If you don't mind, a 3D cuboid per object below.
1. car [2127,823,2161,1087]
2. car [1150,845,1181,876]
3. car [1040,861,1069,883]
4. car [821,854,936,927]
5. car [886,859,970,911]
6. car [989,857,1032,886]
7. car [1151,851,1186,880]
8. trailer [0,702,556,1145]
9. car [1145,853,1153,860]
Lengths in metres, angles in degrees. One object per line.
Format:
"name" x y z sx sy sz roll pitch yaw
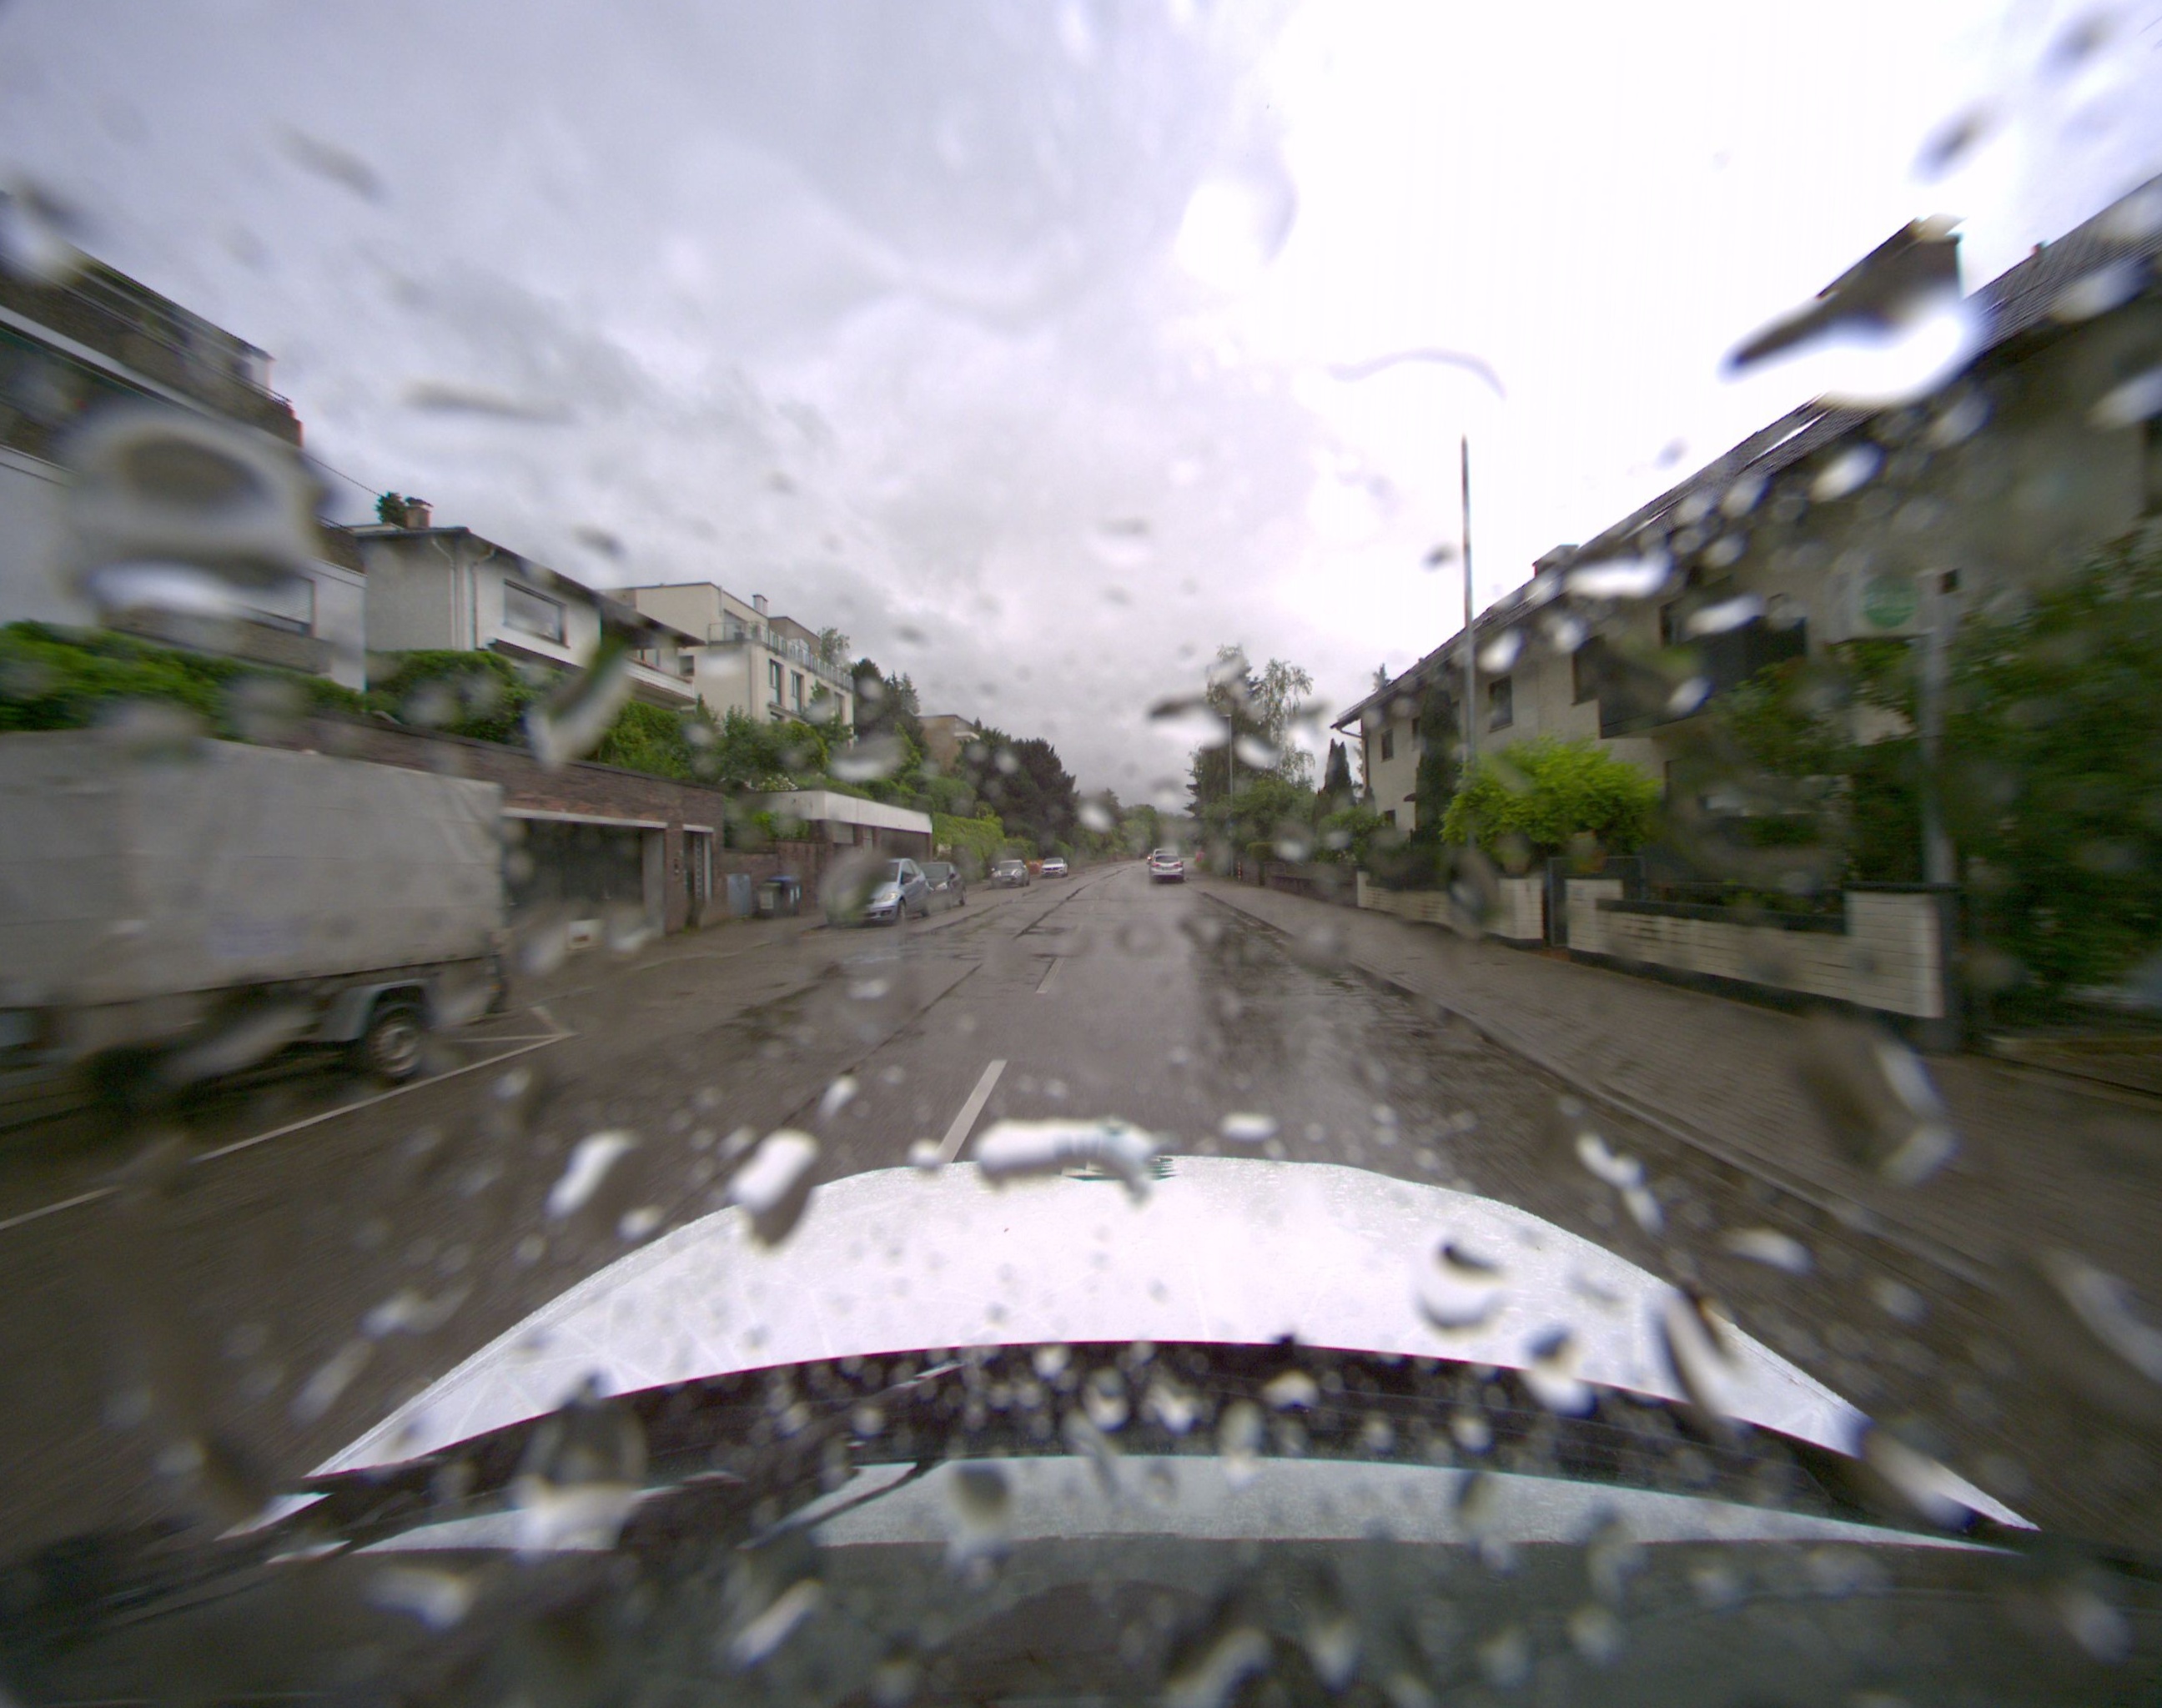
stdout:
"car" 8.030 0.584 3.786 4.208 1.446 1.702 1 0 0
"car" 5.121 0.409 49.324 1.776 1.790 4.367 -1 -1 6
"car" -1.976 1.353 62.271 1.748 1.498 4.223 -3 -1 3
"car" -4.973 0.838 20.524 1.749 1.539 3.758 -4 0 2
"car" -4.759 0.923 25.845 1.749 1.409 3.706 -4 0 2
"car" -3.701 0.910 43.324 1.749 1.402 3.772 -4 -1 2
"car" 4.663 0.600 43.583 1.780 1.460 4.315 -1 -1 6
"trailer" -5.800 0.412 6.052 1.530 2.399 3.076 -3 -1 4
"car" 14.226 0.551 170.096 1.655 1.461 3.665 -1 -1 3
